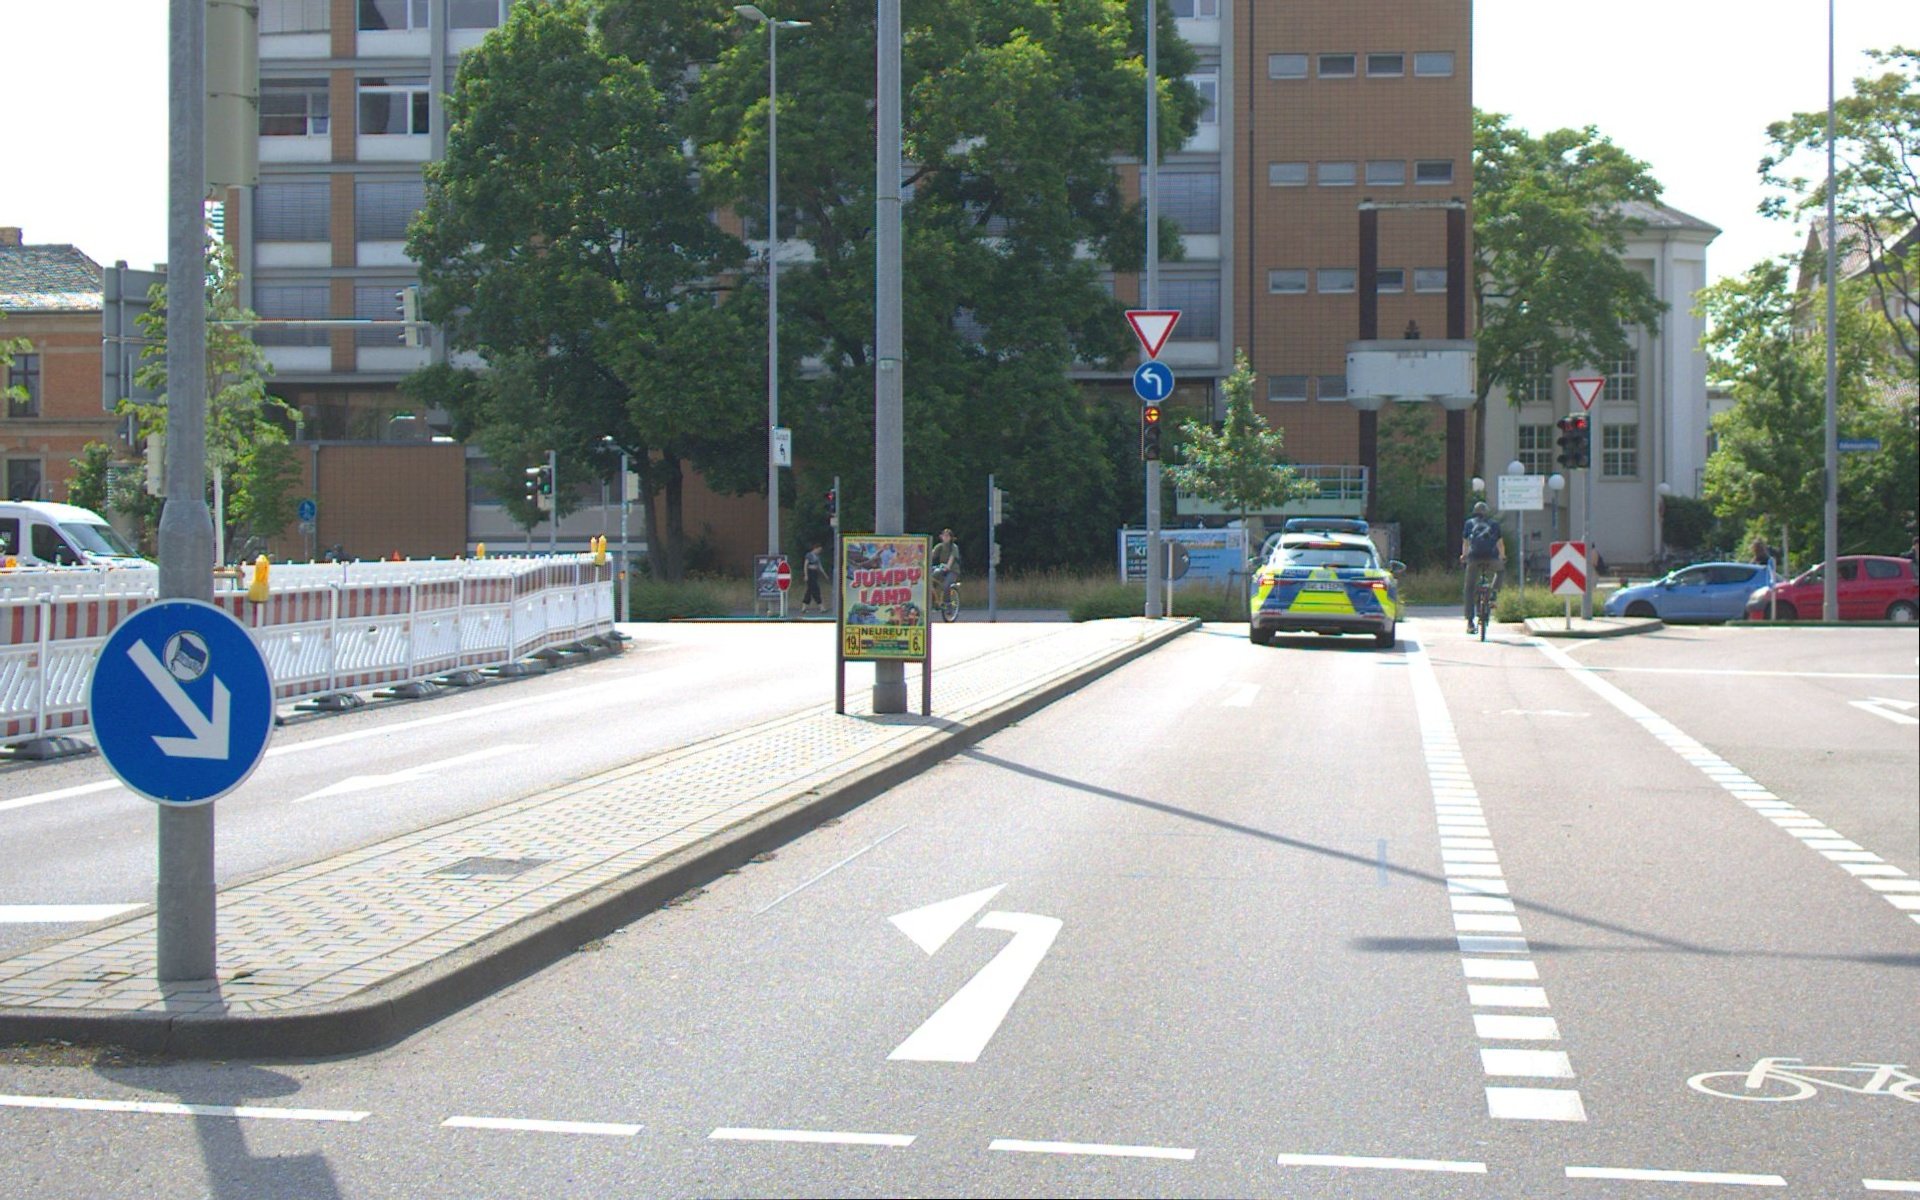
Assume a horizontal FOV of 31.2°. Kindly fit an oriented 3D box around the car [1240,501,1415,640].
[{"bbox_3d":[4.821,-0.411,44.974,2.131,1.678,4.101,2,1,7],"label":"car"}]

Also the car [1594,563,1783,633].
[{"bbox_3d":[15.403,-0.051,72.642,3.727,1.451,1.625,0,1,19],"label":"car"}]

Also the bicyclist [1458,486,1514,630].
[{"bbox_3d":[7.265,-0.593,47.503,0.718,1.966,0.839,0,2,7],"label":"bicyclist"}]

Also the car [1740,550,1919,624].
[{"bbox_3d":[17.660,-0.260,69.056,3.727,1.451,1.625,0,1,19],"label":"car"}]

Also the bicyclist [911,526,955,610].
[{"bbox_3d":[-0.478,-0.564,61.035,0.634,1.465,0.839,0,2,11],"label":"bicyclist"}]

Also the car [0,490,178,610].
[{"bbox_3d":[-18.542,-0.977,68.428,5.578,2.311,2.298,0,1,26],"label":"car"}]

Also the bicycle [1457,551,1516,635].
[{"bbox_3d":[7.258,-0.107,47.441,0.721,1.080,2.190,0,2,7],"label":"bicycle"}]

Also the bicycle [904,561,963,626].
[{"bbox_3d":[-0.466,-0.130,61.082,0.634,1.080,2.190,0,2,10],"label":"bicycle"}]

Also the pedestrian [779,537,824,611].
[{"bbox_3d":[-4.027,-0.663,87.382,0.944,1.876,0.908,0,1,10],"label":"pedestrian"}]
